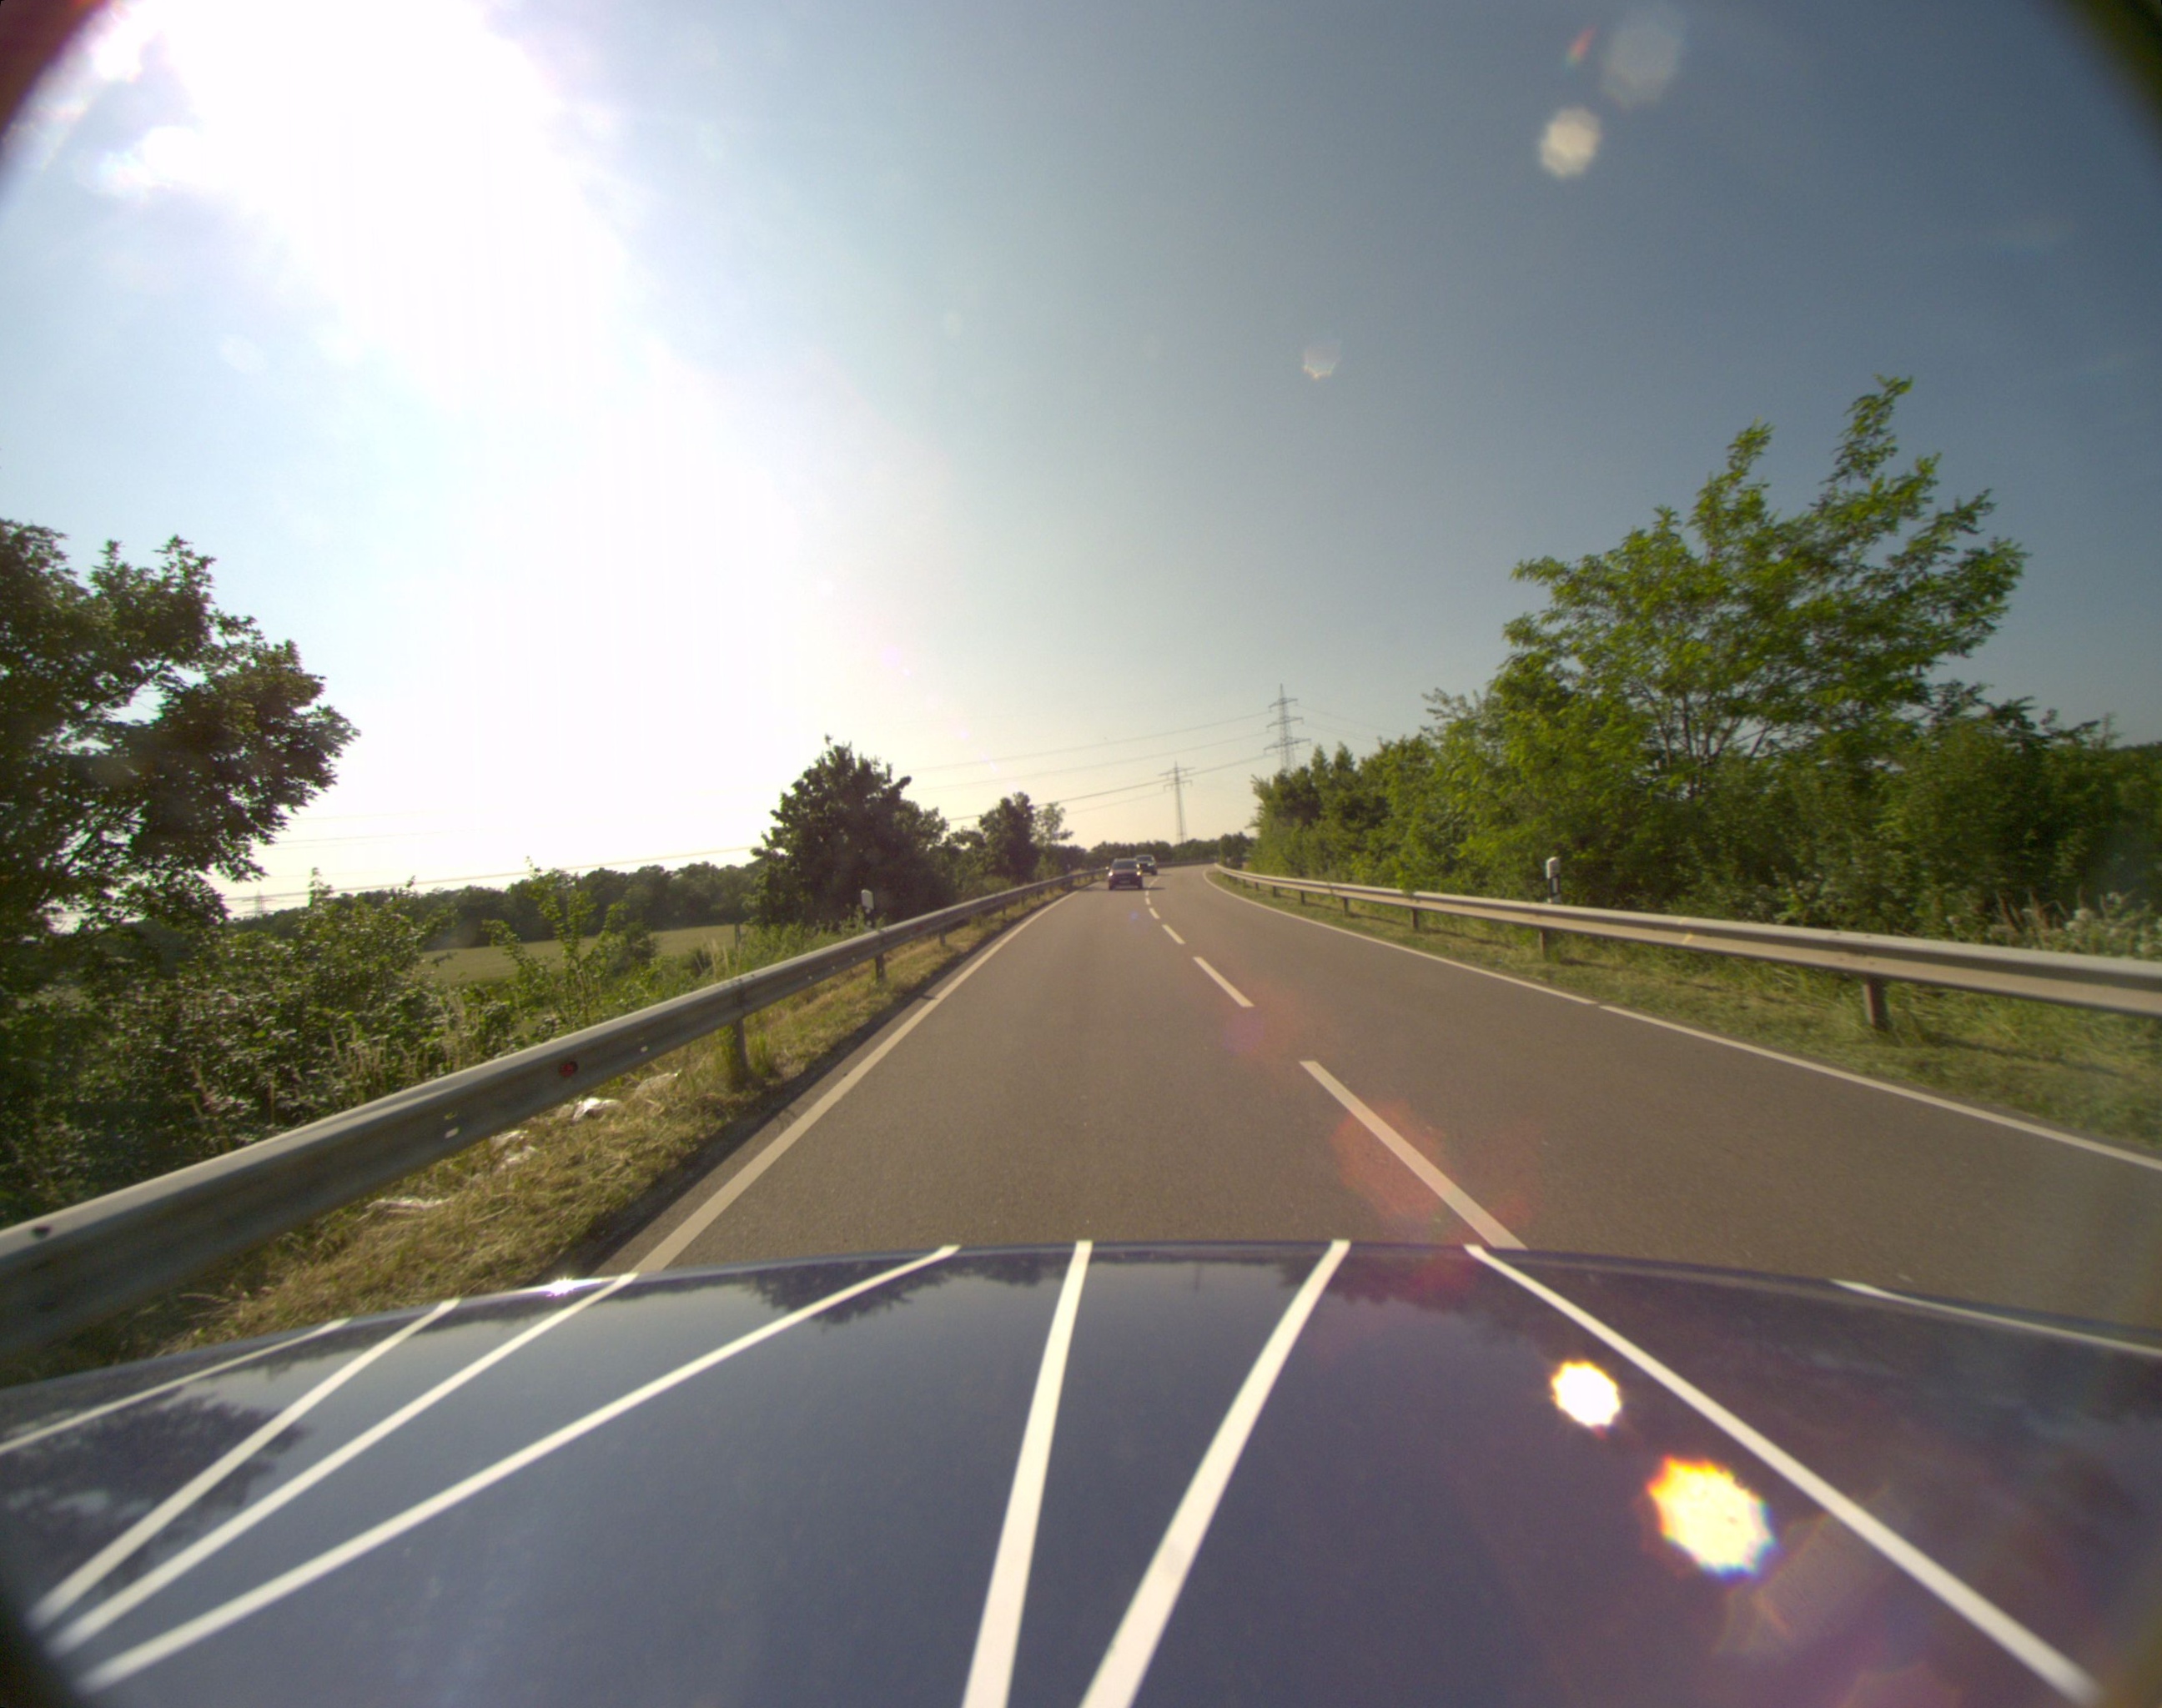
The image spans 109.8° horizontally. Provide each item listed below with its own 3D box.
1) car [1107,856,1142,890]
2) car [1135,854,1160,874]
[{"bbox_3d":[2.231,0.925,38.162,1.606,1.486,4.001,-3,1,5],"label":"car"},{"bbox_3d":[5.489,0.805,62.383,1.605,1.486,4.002,-3,1,10],"label":"car"}]
